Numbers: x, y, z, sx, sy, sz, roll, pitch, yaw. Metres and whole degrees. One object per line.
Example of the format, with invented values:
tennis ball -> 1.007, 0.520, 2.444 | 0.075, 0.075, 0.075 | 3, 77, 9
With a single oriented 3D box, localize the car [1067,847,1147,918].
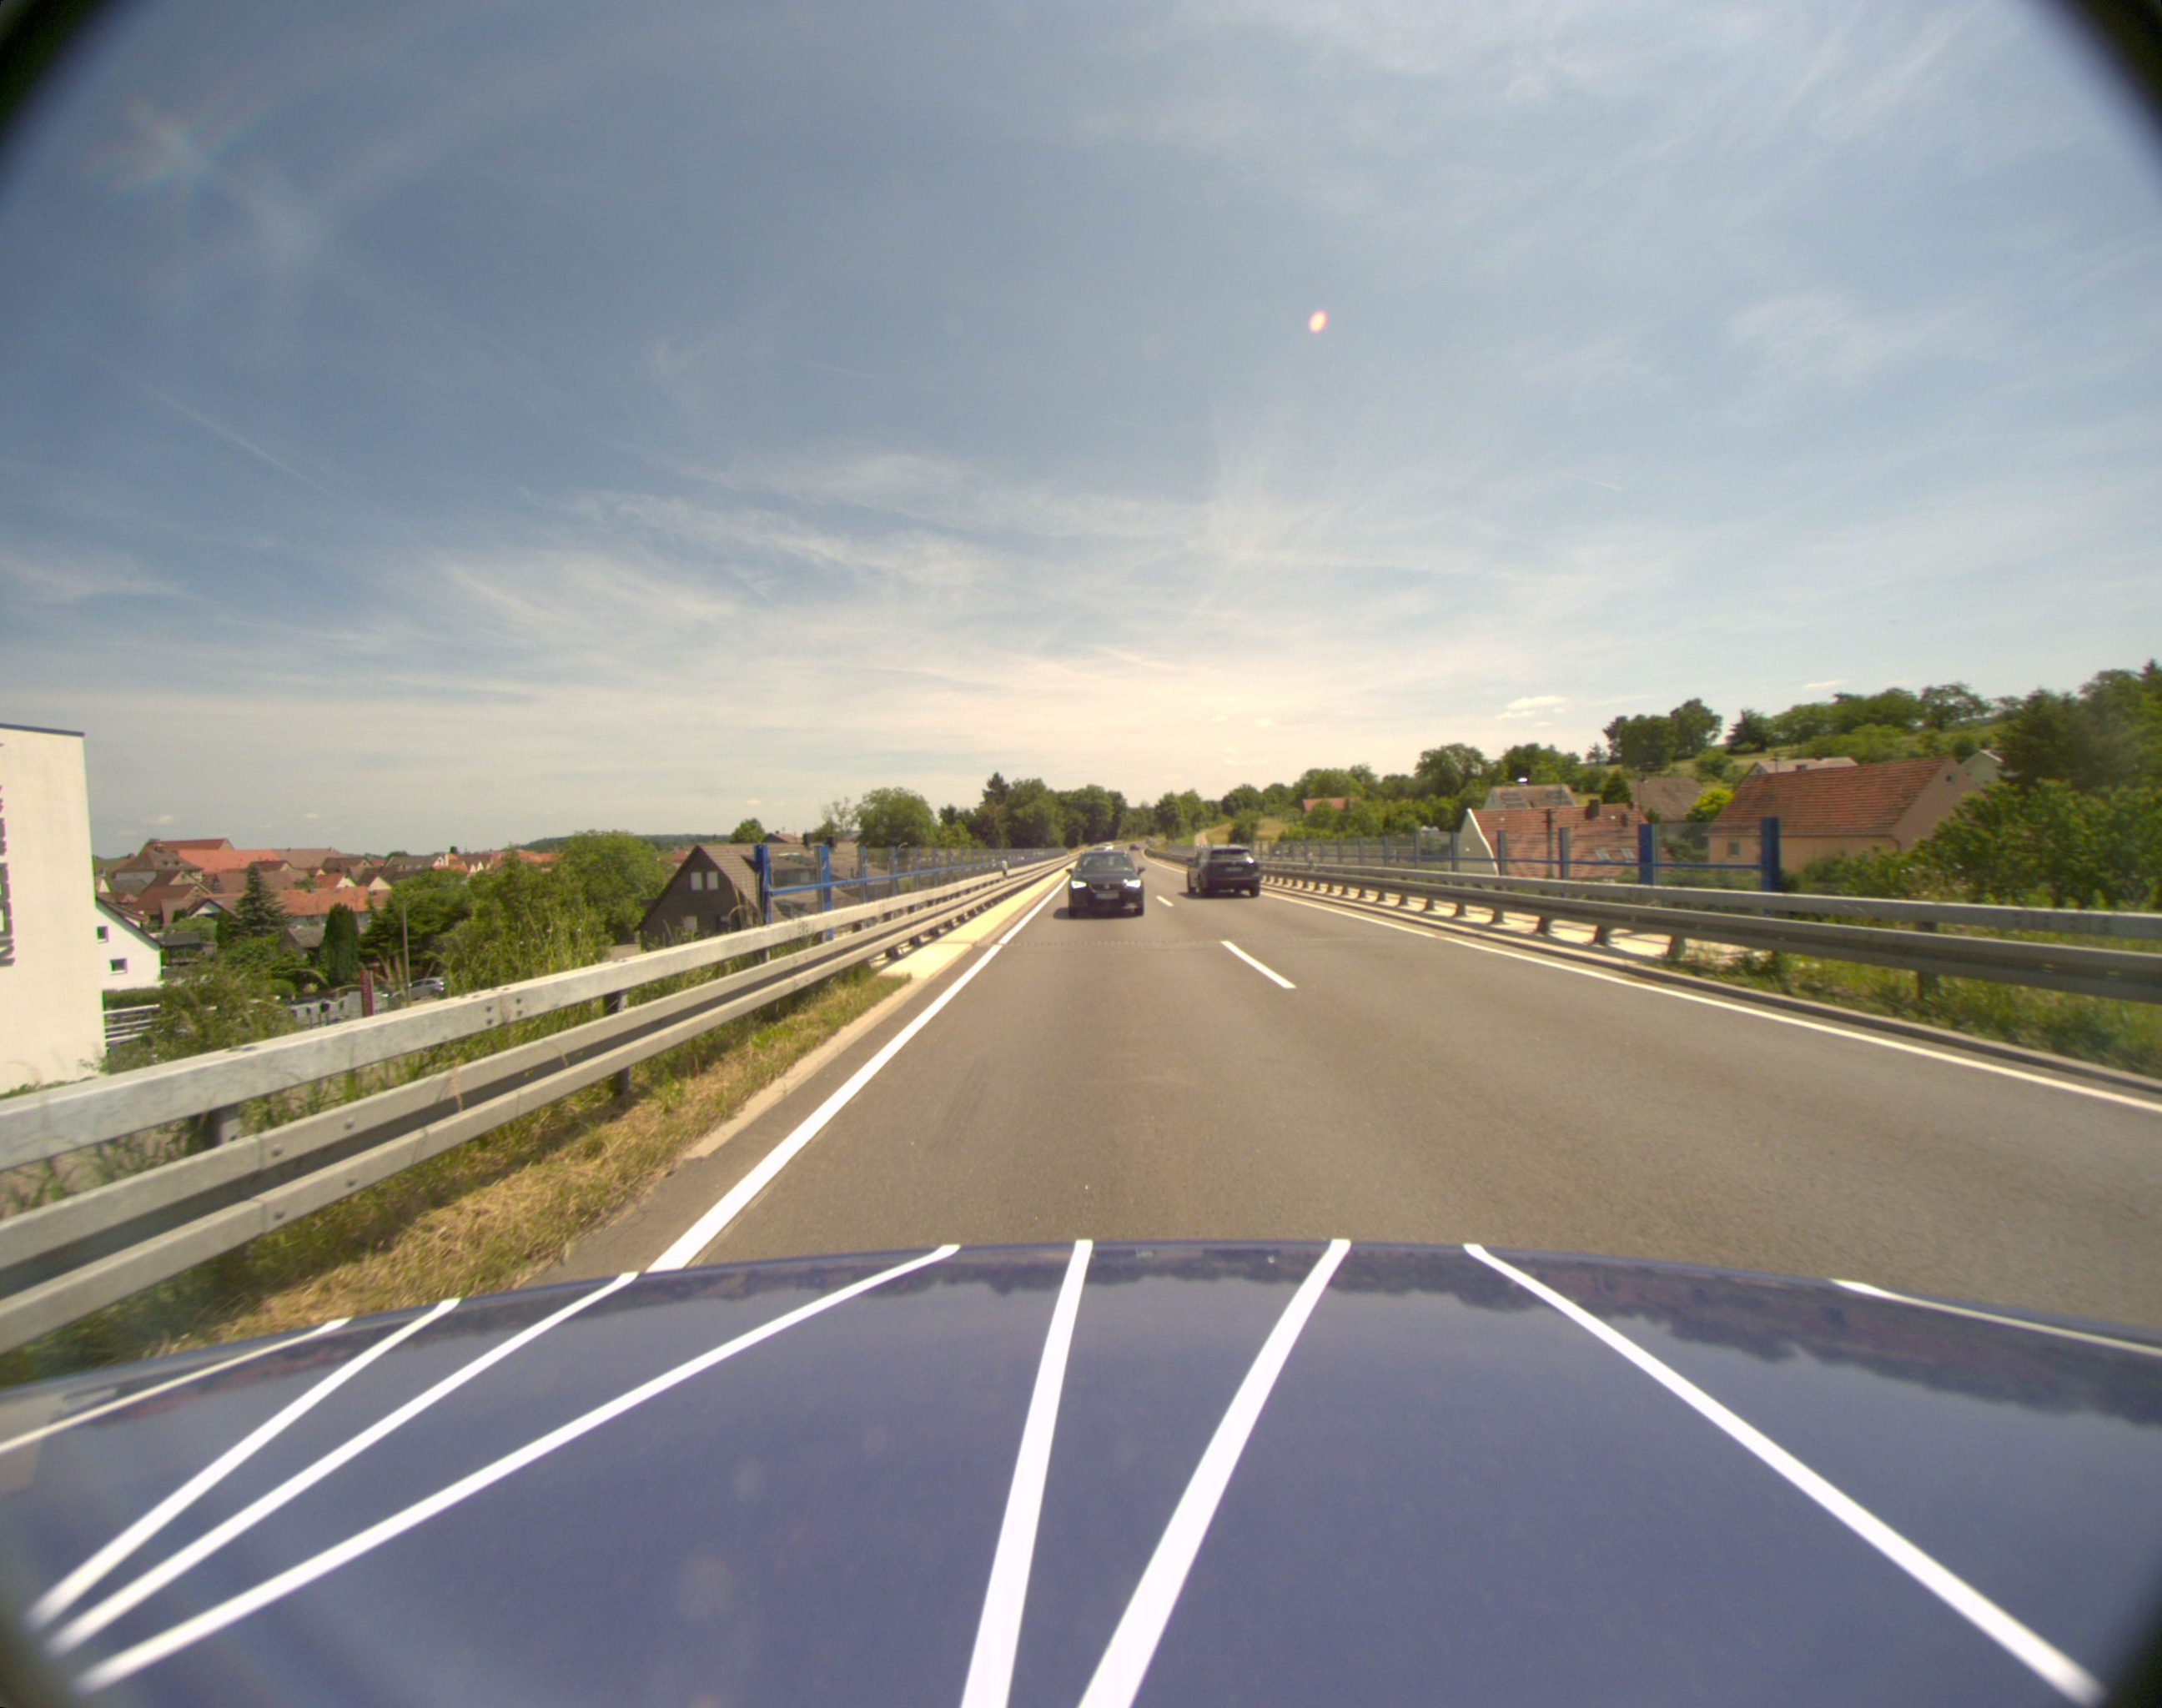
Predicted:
car -> 0.604, 0.604, 18.560 | 1.737, 1.468, 3.999 | 0, 2, 1

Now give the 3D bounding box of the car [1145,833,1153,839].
car -> 18.390, -4.963, 205.889 | 1.711, 1.497, 4.118 | 0, 2, 2

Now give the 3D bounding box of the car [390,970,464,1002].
car -> -52.099, 10.520, 60.585 | 3.998, 1.559, 1.822 | -9, 2, -3

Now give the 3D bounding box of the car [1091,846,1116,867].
car -> 1.965, 0.181, 65.593 | 1.883, 1.699, 4.000 | 0, 2, 5

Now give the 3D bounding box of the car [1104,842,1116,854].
car -> 5.097, -1.104, 133.522 | 1.998, 2.003, 3.999 | -1, 2, 3

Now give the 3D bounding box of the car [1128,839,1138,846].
car -> 10.121, -2.243, 148.031 | 1.785, 1.427, 4.834 | -1, 1, 3

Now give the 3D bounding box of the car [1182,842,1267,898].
car -> 4.553, 0.465, 24.717 | 1.870, 1.602, 4.372 | -2, 1, 0
